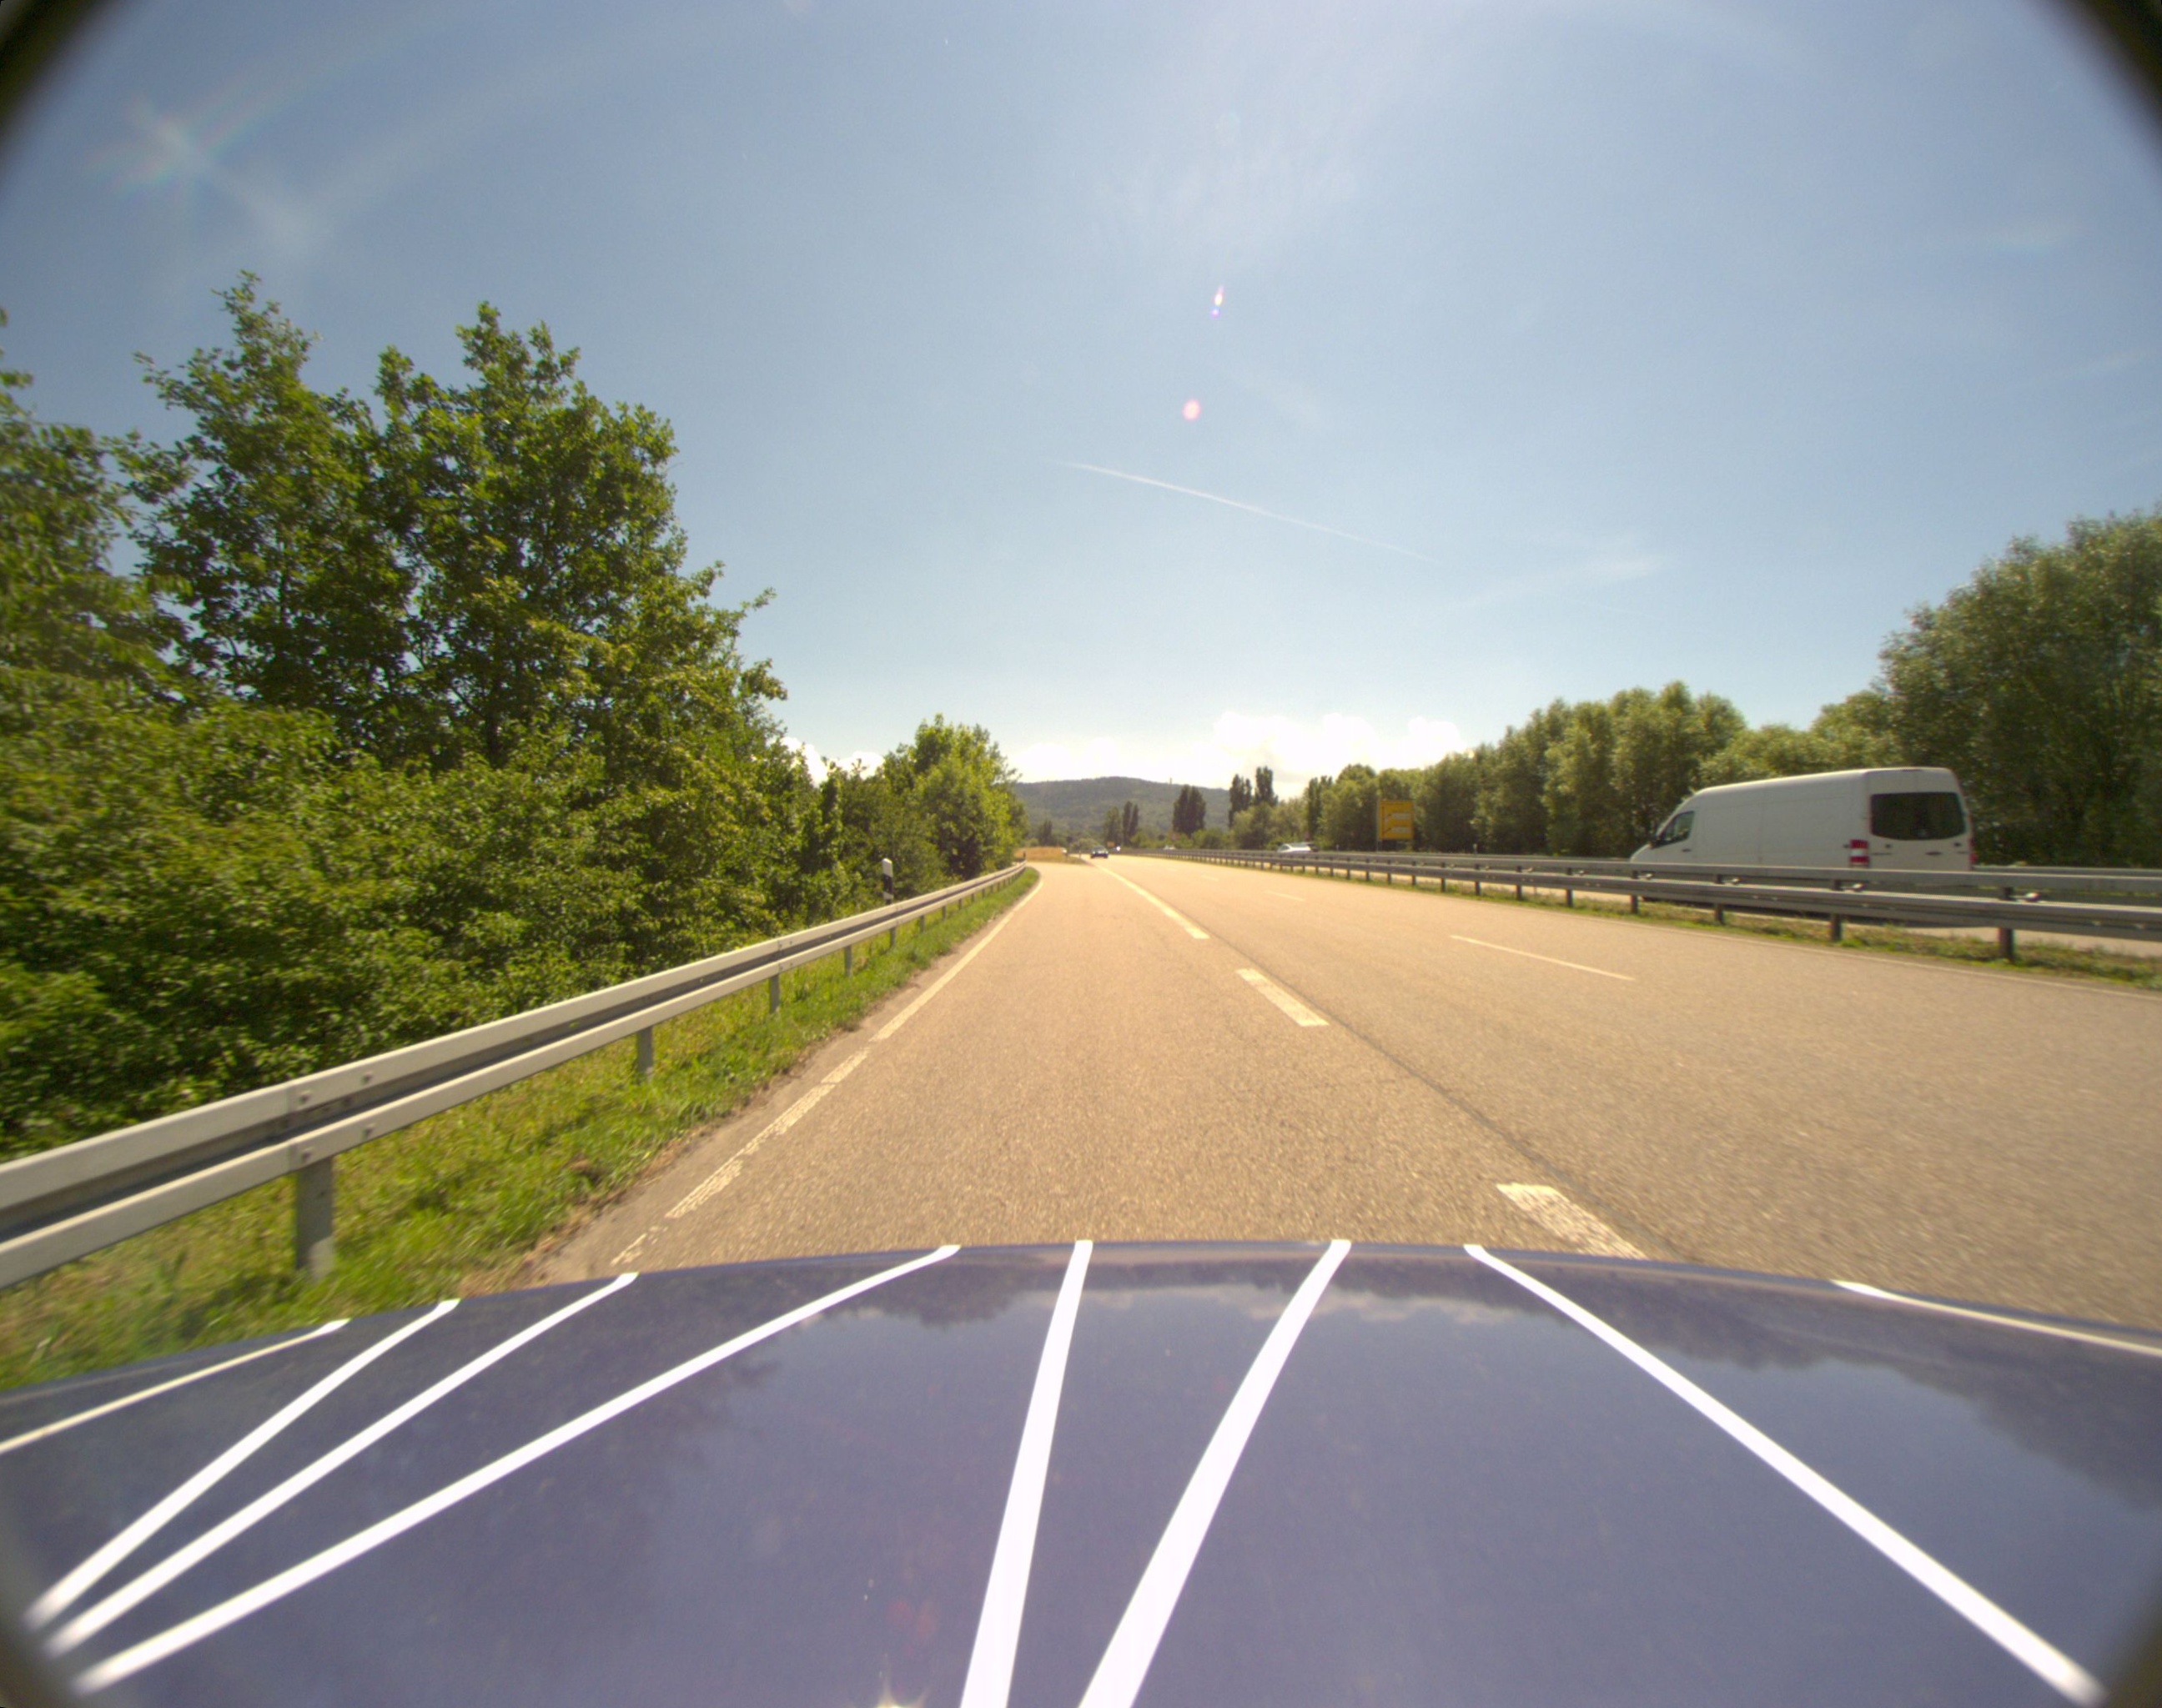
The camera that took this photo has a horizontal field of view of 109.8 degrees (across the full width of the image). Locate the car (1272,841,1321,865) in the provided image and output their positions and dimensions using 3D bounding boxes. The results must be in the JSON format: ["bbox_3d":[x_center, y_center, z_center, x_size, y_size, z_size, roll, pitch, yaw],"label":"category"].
[{"bbox_3d":[14.134,-0.117,50.028,1.923,1.481,3.999,-1,1,-2],"label":"car"}]

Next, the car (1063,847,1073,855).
[{"bbox_3d":[-2.817,-0.715,163.570,1.998,1.630,4.001,-1,0,3],"label":"car"}]

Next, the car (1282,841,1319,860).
[{"bbox_3d":[18.319,-0.295,63.626,1.693,1.543,4.072,-1,1,-3],"label":"car"}]

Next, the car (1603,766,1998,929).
[{"bbox_3d":[14.232,-0.154,15.949,2.107,2.667,6.627,-1,1,1],"label":"car"}]

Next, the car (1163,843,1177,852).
[{"bbox_3d":[14.310,-1.067,122.486,1.714,1.495,3.998,-1,1,-2],"label":"car"}]

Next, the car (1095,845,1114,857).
[{"bbox_3d":[2.773,-0.392,91.155,1.909,1.368,3.889,-1,1,-4],"label":"car"}]
